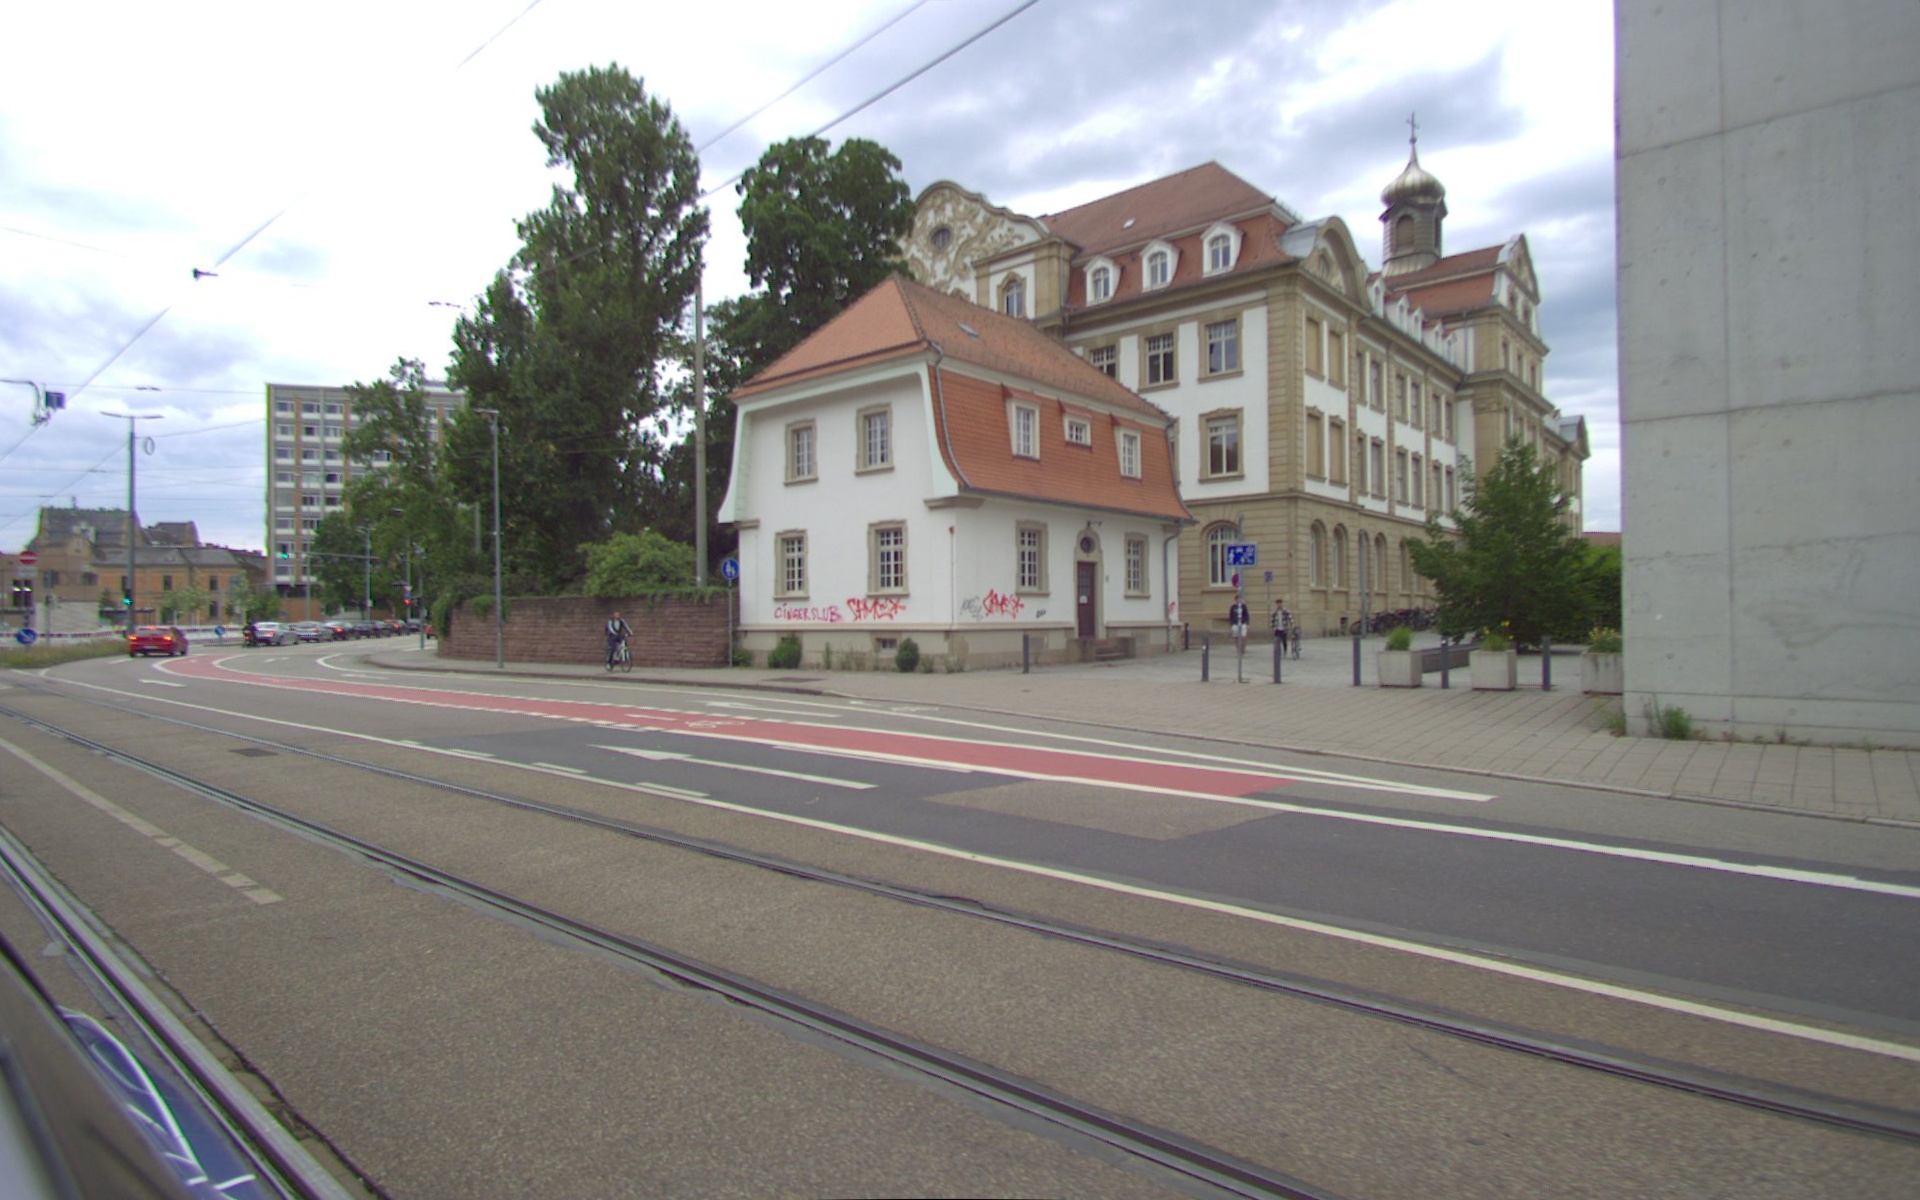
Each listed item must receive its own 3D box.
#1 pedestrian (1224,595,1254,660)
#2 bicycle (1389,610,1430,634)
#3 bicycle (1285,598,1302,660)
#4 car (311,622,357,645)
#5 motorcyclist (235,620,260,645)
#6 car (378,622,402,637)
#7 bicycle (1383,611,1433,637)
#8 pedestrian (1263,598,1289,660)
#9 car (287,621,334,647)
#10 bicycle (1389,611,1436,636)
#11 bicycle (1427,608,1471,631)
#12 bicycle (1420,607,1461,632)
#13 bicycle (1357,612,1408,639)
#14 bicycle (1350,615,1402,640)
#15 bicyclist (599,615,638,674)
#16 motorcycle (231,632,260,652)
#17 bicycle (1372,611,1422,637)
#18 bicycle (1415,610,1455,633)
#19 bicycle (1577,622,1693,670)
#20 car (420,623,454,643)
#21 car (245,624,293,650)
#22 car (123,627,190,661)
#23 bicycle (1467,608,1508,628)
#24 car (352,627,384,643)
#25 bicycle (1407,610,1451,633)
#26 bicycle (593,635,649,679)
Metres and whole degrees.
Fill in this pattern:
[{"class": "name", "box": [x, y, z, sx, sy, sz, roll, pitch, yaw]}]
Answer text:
[{"class": "pedestrian", "box": [8.262, 0.806, 29.989, 0.750, 1.899, 0.685, 1, 0, 22]}, {"class": "bicycle", "box": [21.159, 1.018, 47.620, 0.482, 1.082, 1.704, 0, 1, -44]}, {"class": "bicycle", "box": [9.818, 0.845, 29.778, 0.357, 1.794, 0.933, 2, 0, 23]}, {"class": "car", "box": [-47.145, 2.477, 76.326, 1.756, 1.623, 4.336, 0, -1, -15]}, {"class": "motorcyclist", "box": [-42.316, 1.919, 60.116, 1.058, 1.497, 1.255, 0, -1, -27]}, {"class": "car", "box": [-50.451, 2.593, 89.589, 1.391, 1.342, 3.321, 0, -1, -21]}, {"class": "bicycle", "box": [20.589, 1.091, 46.536, 0.708, 1.082, 1.932, 0, 1, -44]}, {"class": "pedestrian", "box": [9.355, 0.852, 29.945, 0.639, 1.794, 0.684, 2, 0, 23]}, {"class": "car", "box": [-45.551, 2.364, 71.036, 1.658, 1.663, 3.992, 0, -1, -15]}, {"class": "bicycle", "box": [21.683, 1.110, 48.502, 0.606, 1.082, 1.932, 0, 1, -44]}, {"class": "bicycle", "box": [25.560, 1.010, 52.919, 0.708, 1.082, 1.932, 0, 1, -44]}, {"class": "bicycle", "box": [24.736, 1.015, 52.127, 0.579, 1.224, 1.782, 0, 1, -44]}, {"class": "bicycle", "box": [18.377, 1.079, 44.021, 0.708, 1.082, 1.932, 0, 1, -44]}, {"class": "bicycle", "box": [17.832, 1.153, 43.387, 0.708, 0.986, 1.932, 0, 1, -44]}, {"class": "bicyclist", "box": [-10.164, 1.317, 30.098, 0.868, 1.703, 0.766, -2, -2, 41]}, {"class": "motorcycle", "box": [-42.040, 2.477, 59.608, 1.038, 1.077, 2.656, 0, -1, -27]}, {"class": "bicycle", "box": [19.743, 1.077, 45.728, 0.708, 1.082, 1.932, 0, 1, -44]}, {"class": "bicycle", "box": [24.053, 1.094, 51.265, 0.539, 1.082, 1.717, 0, 1, -44]}, {"class": "bicycle", "box": [15.060, 1.006, 22.619, 2.089, 1.026, 0.655, -2, -2, 41]}, {"class": "car", "box": [-42.968, 2.700, 83.206, 1.801, 1.594, 4.012, 0, -1, -18]}, {"class": "car", "box": [-43.499, 2.298, 63.763, 1.469, 1.520, 3.480, 0, -1, -16]}, {"class": "car", "box": [-38.224, 2.067, 48.230, 1.731, 1.511, 4.013, 1, -2, -27]}, {"class": "bicycle", "box": [29.717, 1.014, 57.009, 0.708, 1.082, 1.932, 0, 1, -44]}, {"class": "car", "box": [-48.242, 2.853, 82.495, 1.400, 1.180, 3.079, 0, -1, -13]}, {"class": "bicycle", "box": [23.410, 1.056, 50.514, 0.642, 1.082, 1.873, 0, 1, -44]}, {"class": "bicycle", "box": [-10.058, 1.672, 30.002, 1.868, 1.221, 0.766, -2, -2, 41]}]
